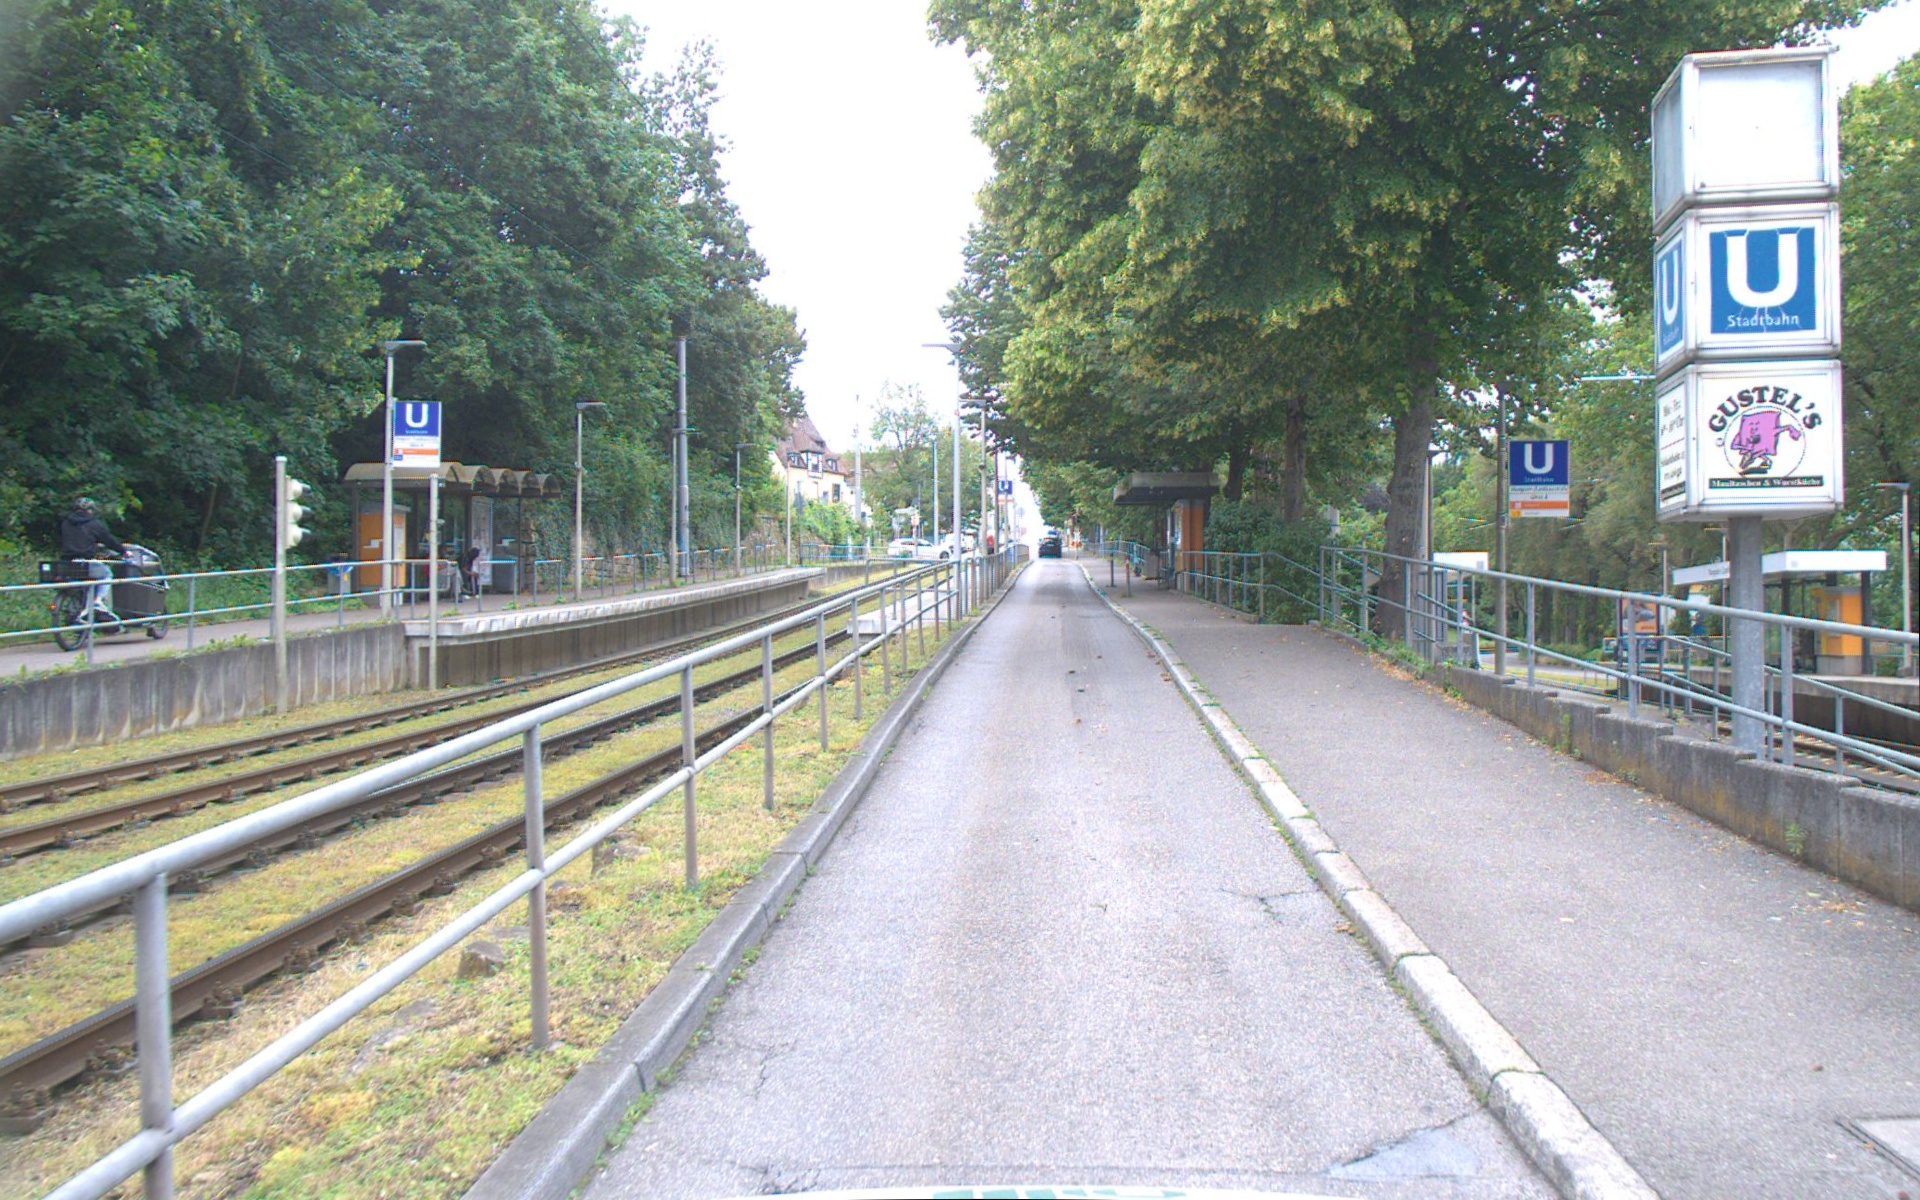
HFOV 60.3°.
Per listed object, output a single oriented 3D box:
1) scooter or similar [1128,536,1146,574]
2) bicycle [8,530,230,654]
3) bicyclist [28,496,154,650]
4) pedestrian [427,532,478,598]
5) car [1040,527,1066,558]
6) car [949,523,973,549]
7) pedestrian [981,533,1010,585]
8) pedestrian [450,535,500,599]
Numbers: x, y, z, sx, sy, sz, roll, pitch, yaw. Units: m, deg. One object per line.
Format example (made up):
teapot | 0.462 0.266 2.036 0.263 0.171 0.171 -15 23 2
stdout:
scooter or similar | 5.779 -1.471 54.027 0.336 1.177 1.146 3 0 -3
bicycle | -10.267 -0.165 20.397 0.717 1.311 3.350 3 4 6
bicyclist | -10.341 -0.351 19.724 0.717 1.740 1.294 3 3 6
pedestrian | -10.717 -0.741 34.937 0.756 1.349 0.787 3 2 3
car | 7.319 -4.526 130.641 1.952 2.183 4.001 3 0 3
car | 0.121 -6.012 156.816 1.952 2.183 4.001 3 0 3
pedestrian | 1.024 -1.198 47.704 0.727 1.433 0.747 3 3 3
pedestrian | -10.601 -0.718 36.173 0.756 1.349 0.787 3 0 3
